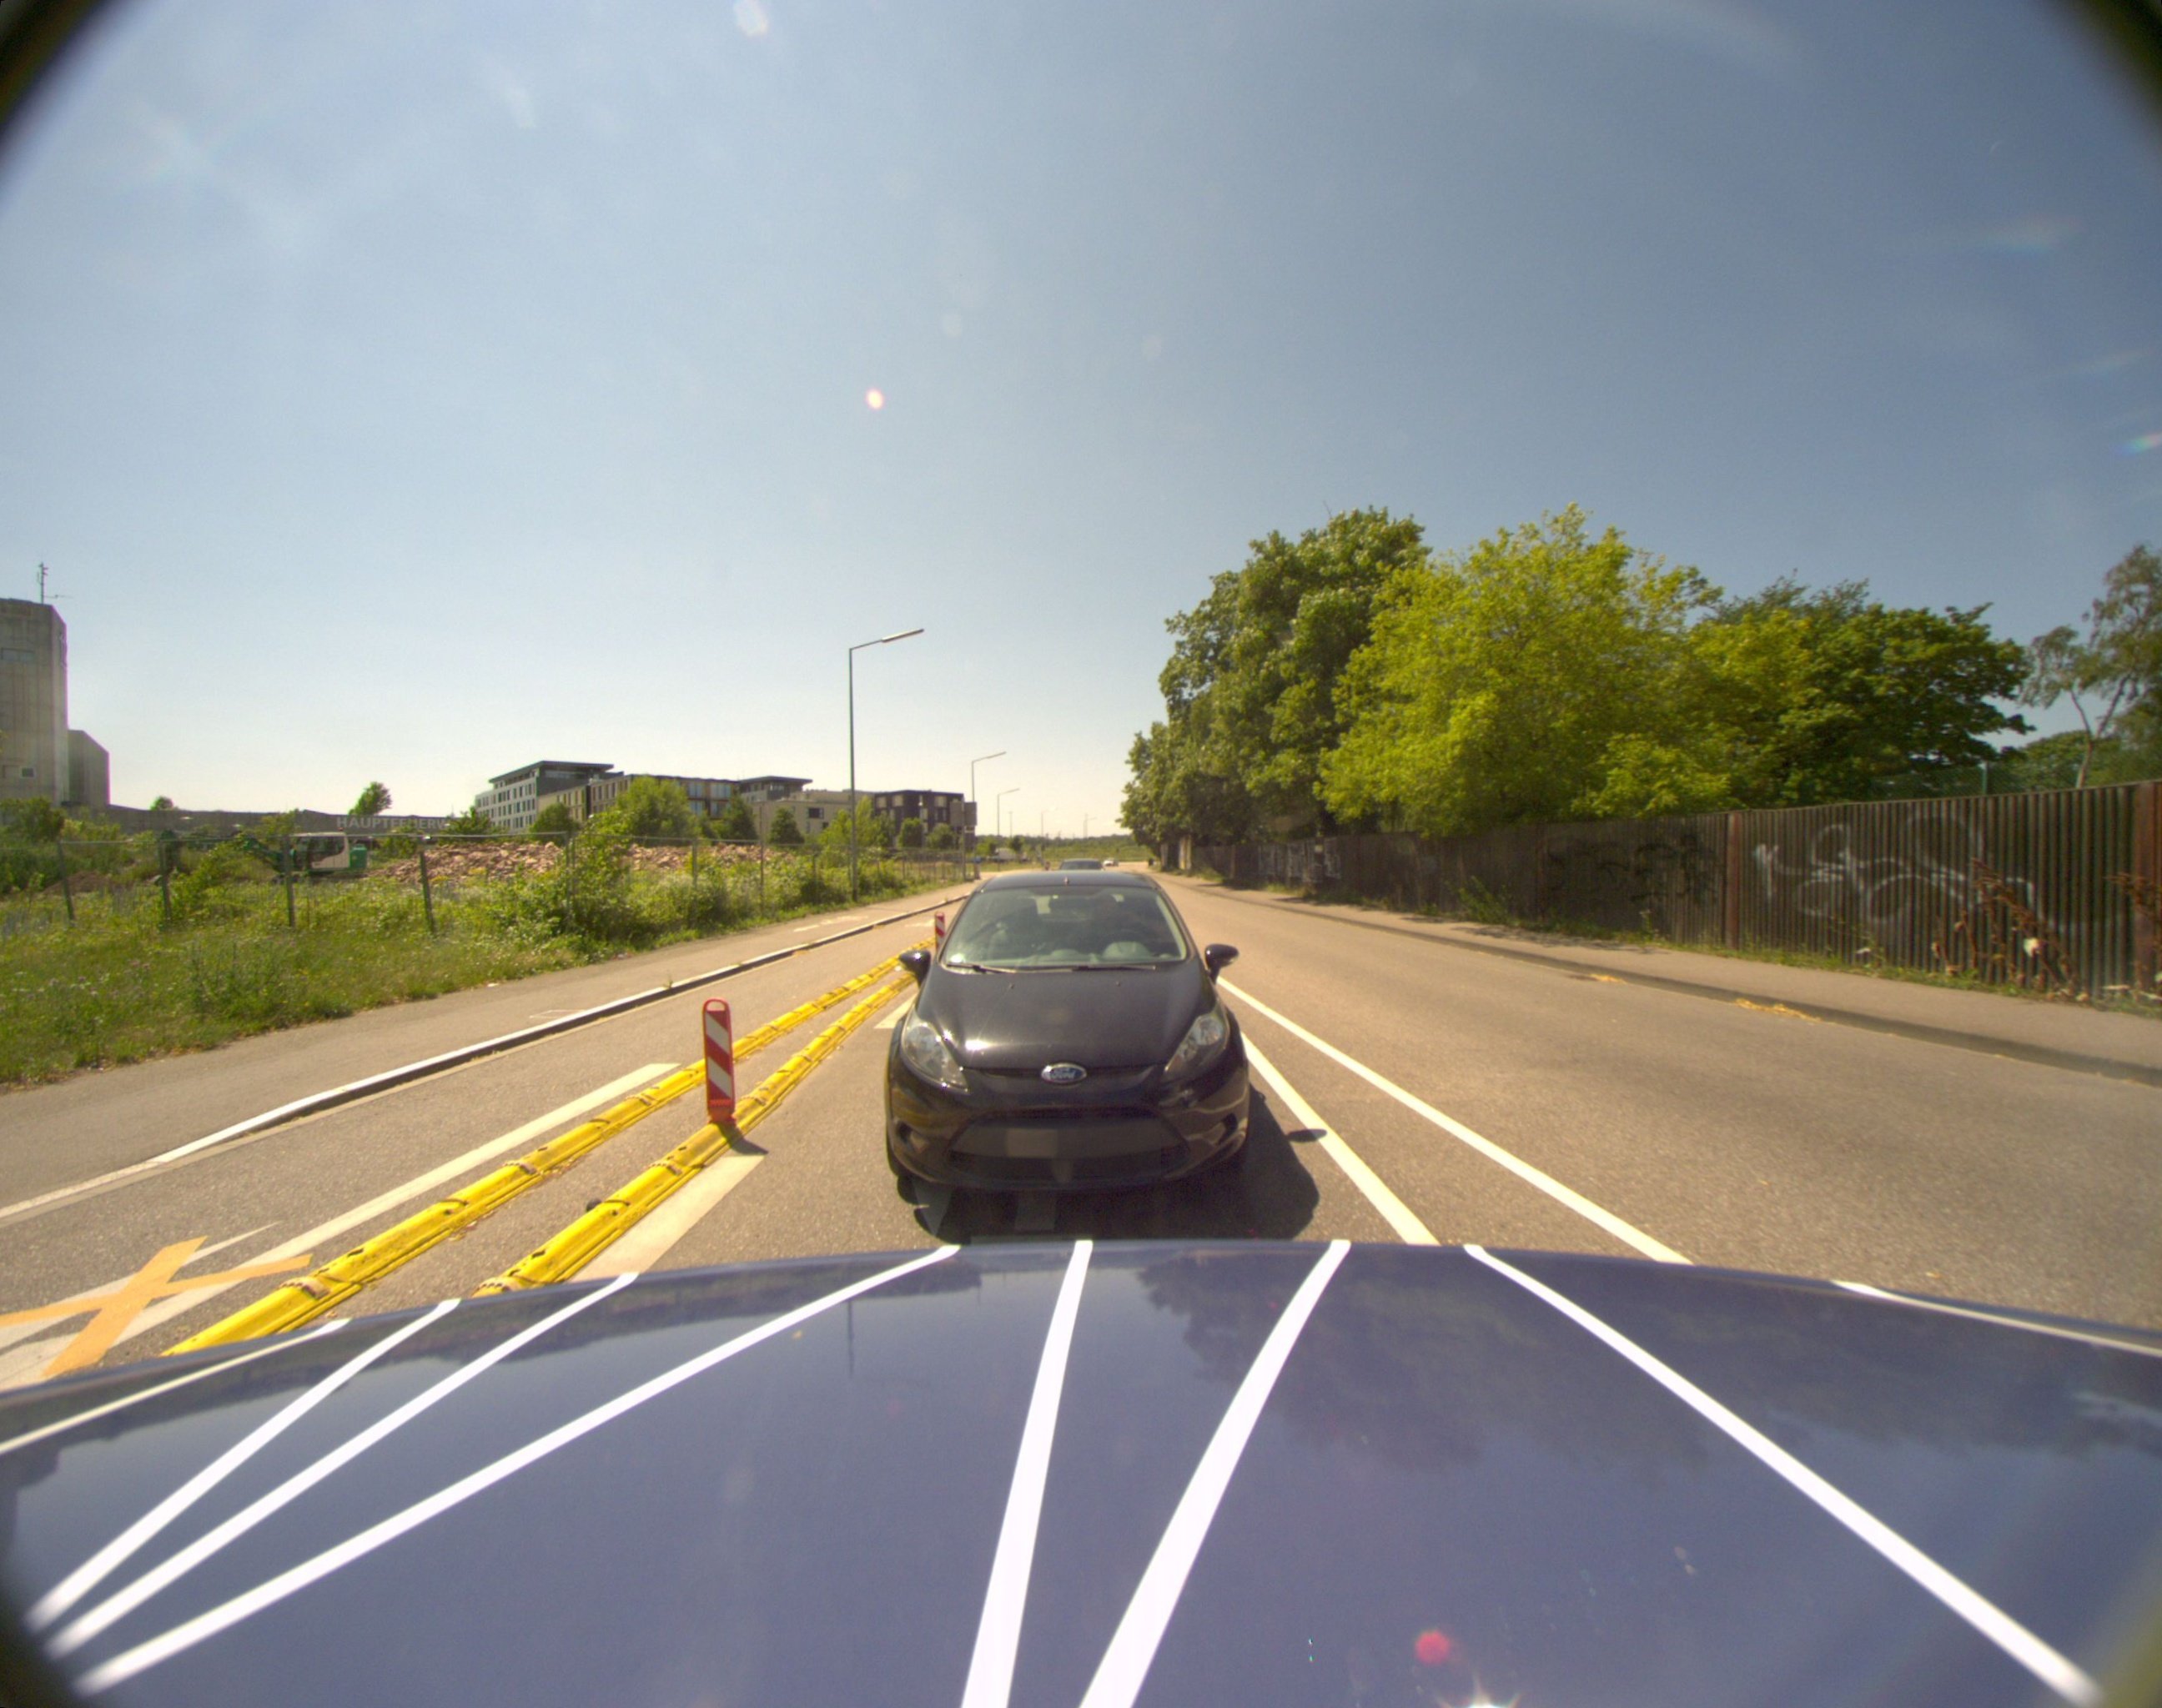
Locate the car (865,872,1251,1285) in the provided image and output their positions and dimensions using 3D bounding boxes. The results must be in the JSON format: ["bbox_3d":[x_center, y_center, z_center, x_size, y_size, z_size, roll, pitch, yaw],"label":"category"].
[{"bbox_3d":[-0.064,0.976,5.121,1.528,1.510,3.999,-2,1,1],"label":"car"}]

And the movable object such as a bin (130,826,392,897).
[{"bbox_3d":[-38.317,0.268,36.022,3.231,2.899,7.702,-2,1,15],"label":"movable object such as a bin"}]

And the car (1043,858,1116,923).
[{"bbox_3d":[-0.003,1.007,23.117,1.924,1.643,4.668,-2,1,1],"label":"car"}]
